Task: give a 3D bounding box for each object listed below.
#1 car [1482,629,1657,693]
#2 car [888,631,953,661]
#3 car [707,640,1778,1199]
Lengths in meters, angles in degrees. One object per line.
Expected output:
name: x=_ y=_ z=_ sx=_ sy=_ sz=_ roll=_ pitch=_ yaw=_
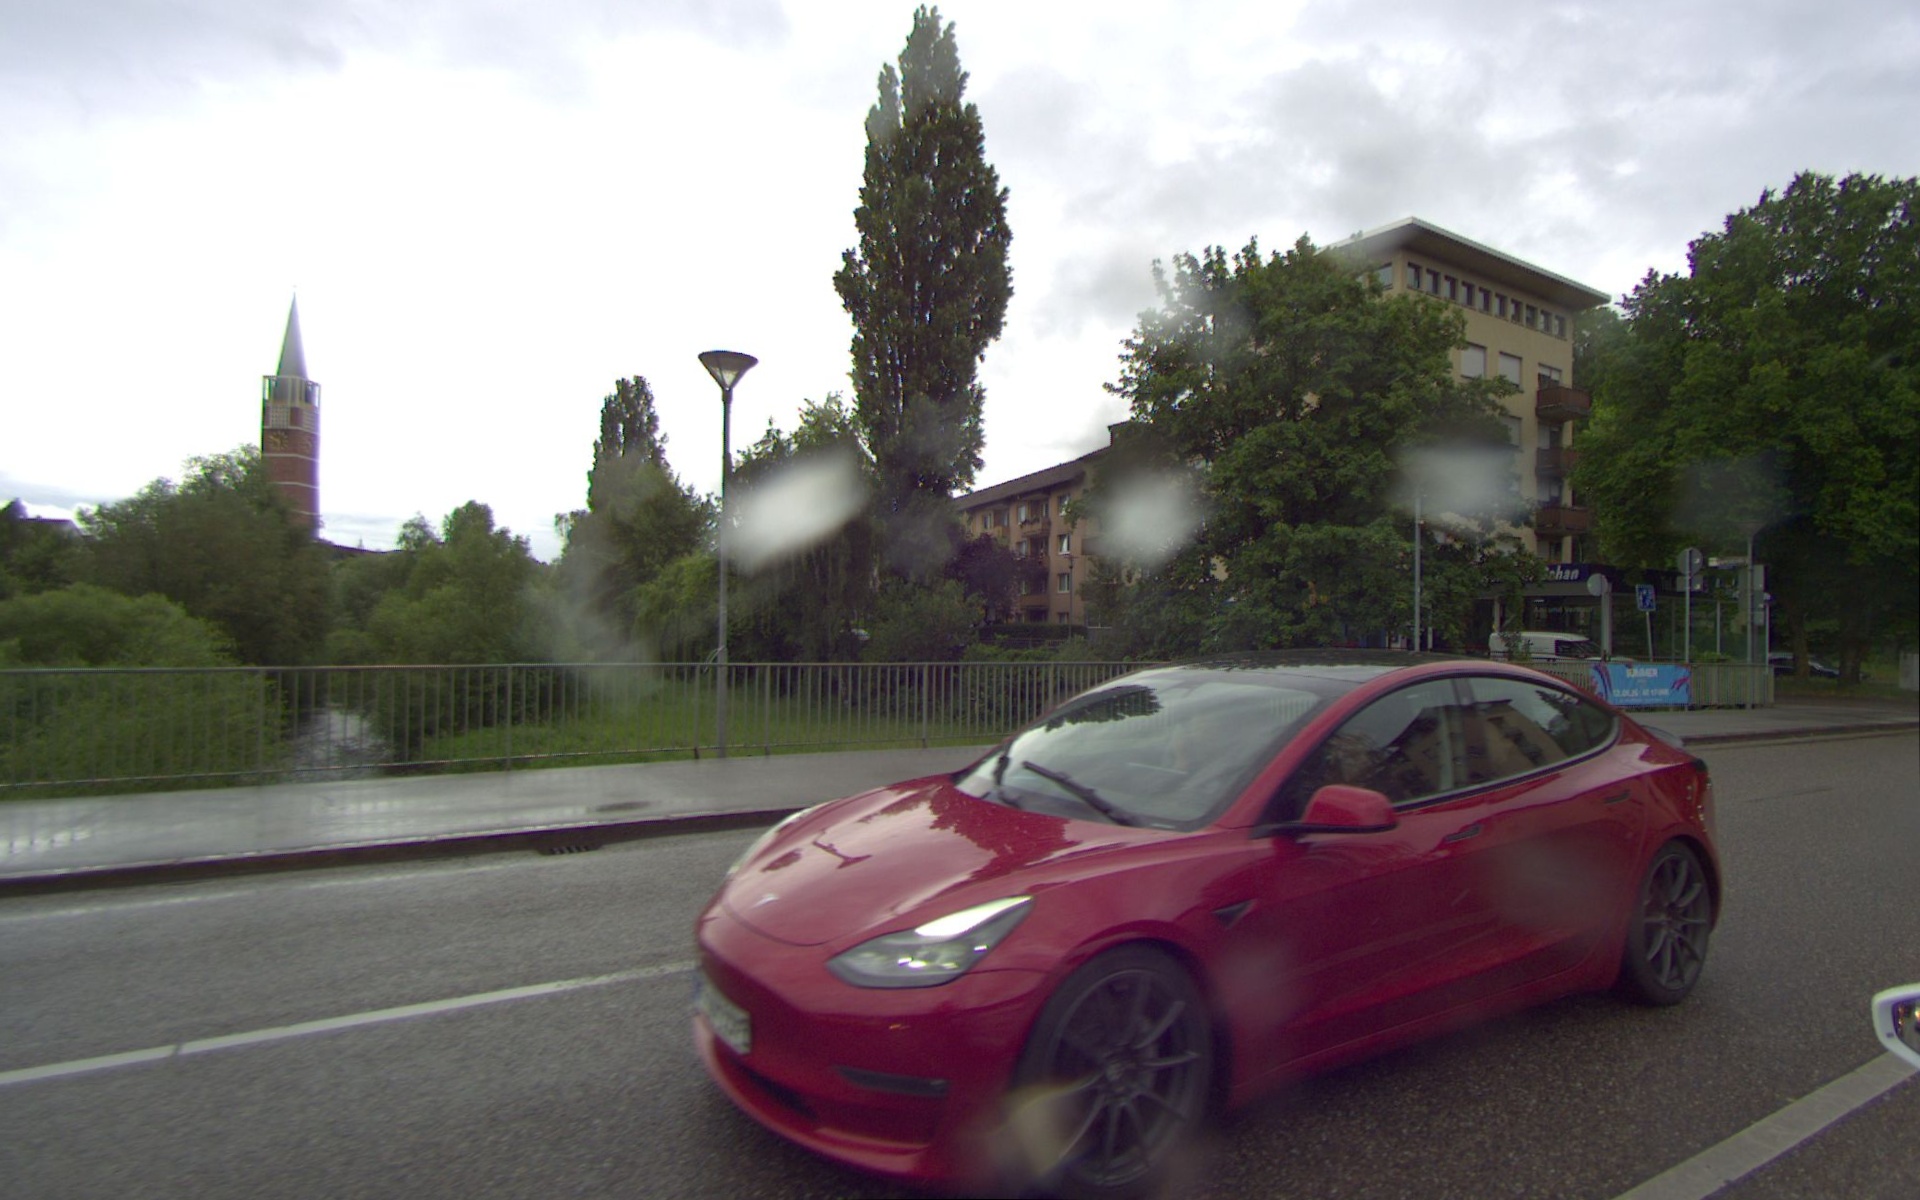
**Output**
car: x=20.527 y=1.973 z=33.984 sx=1.982 sy=1.879 sz=4.705 roll=0 pitch=0 yaw=-38
car: x=-2.259 y=2.587 z=56.617 sx=1.726 sy=1.602 sz=3.843 roll=2 pitch=-2 yaw=-38
car: x=1.287 y=0.872 z=4.055 sx=4.169 sy=1.421 sz=1.773 roll=1 pitch=-2 yaw=-30
